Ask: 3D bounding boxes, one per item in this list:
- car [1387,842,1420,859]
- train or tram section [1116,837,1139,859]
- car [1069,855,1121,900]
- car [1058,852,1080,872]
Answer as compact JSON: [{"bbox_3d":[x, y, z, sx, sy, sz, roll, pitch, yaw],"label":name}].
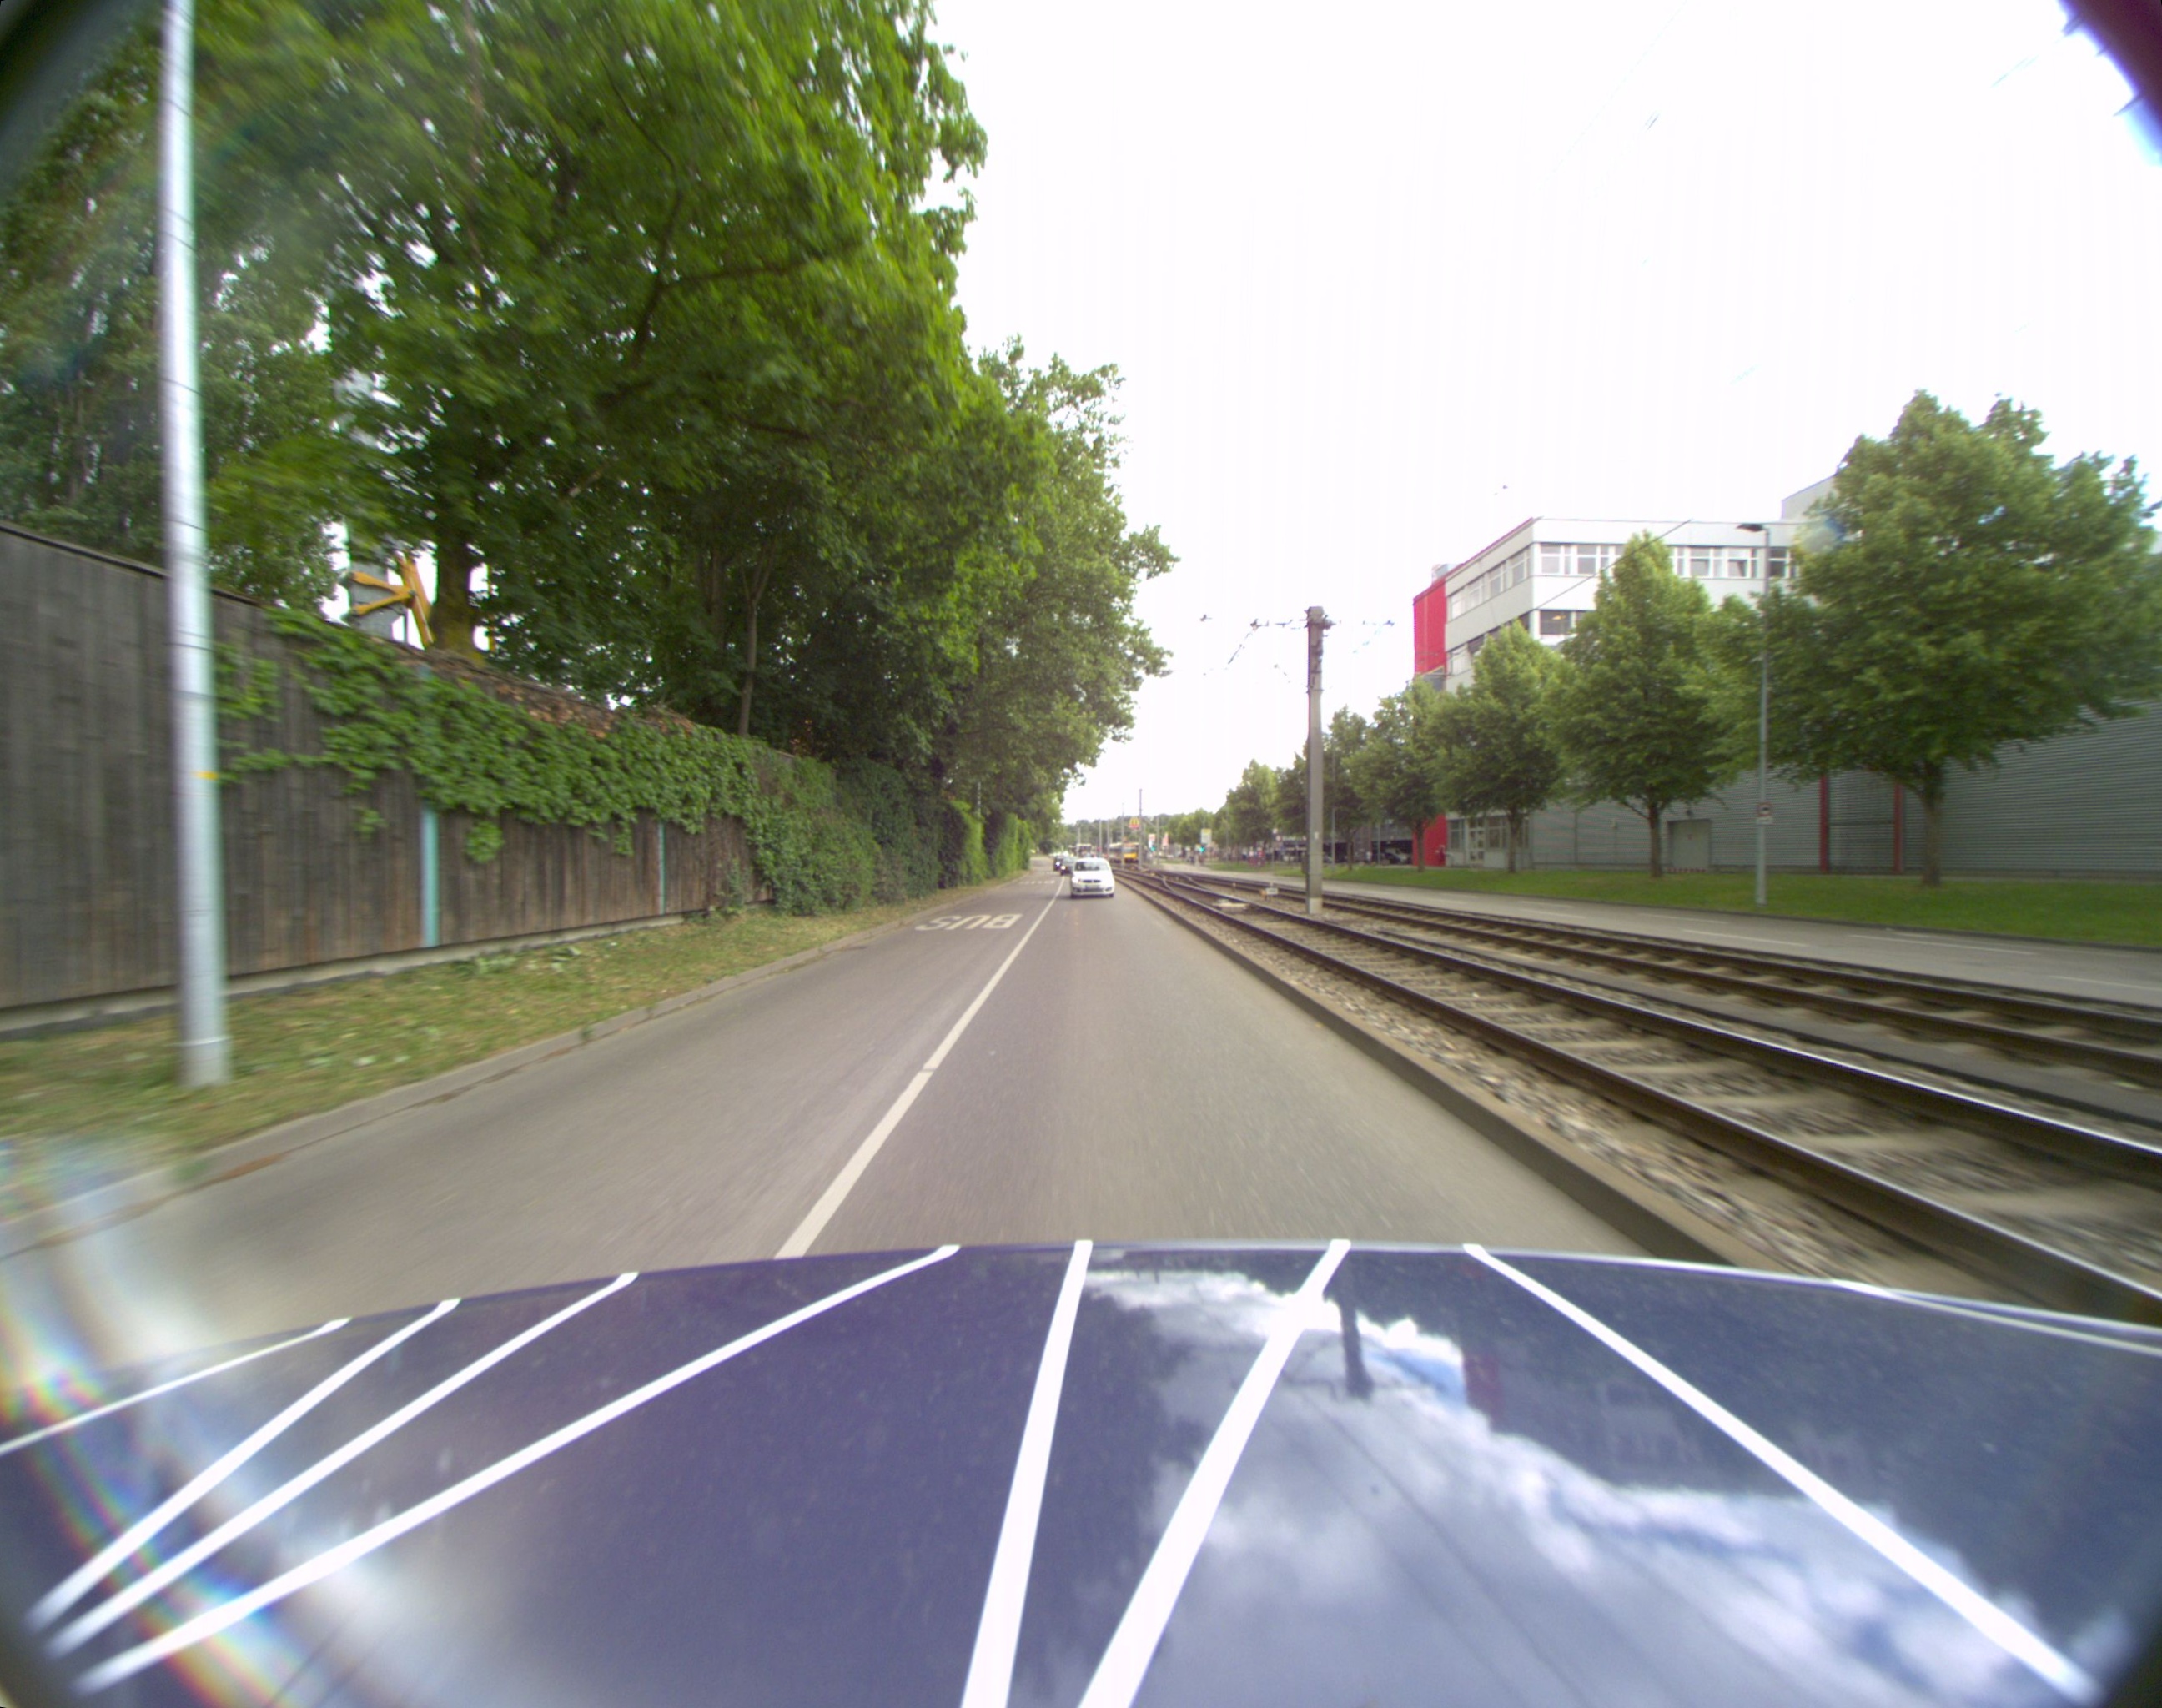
[{"bbox_3d":[39.513,-0.444,93.250,1.999,2.002,4.404,-1,0,-3],"label":"car"},{"bbox_3d":[8.216,-1.004,135.808,2.778,3.753,13.784,-1,0,-1],"label":"train or tram section"},{"bbox_3d":[0.478,0.828,28.490,1.765,1.469,4.030,-2,0,0],"label":"car"},{"bbox_3d":[-0.983,0.633,63.945,1.714,1.586,4.000,-1,0,1],"label":"car"}]
